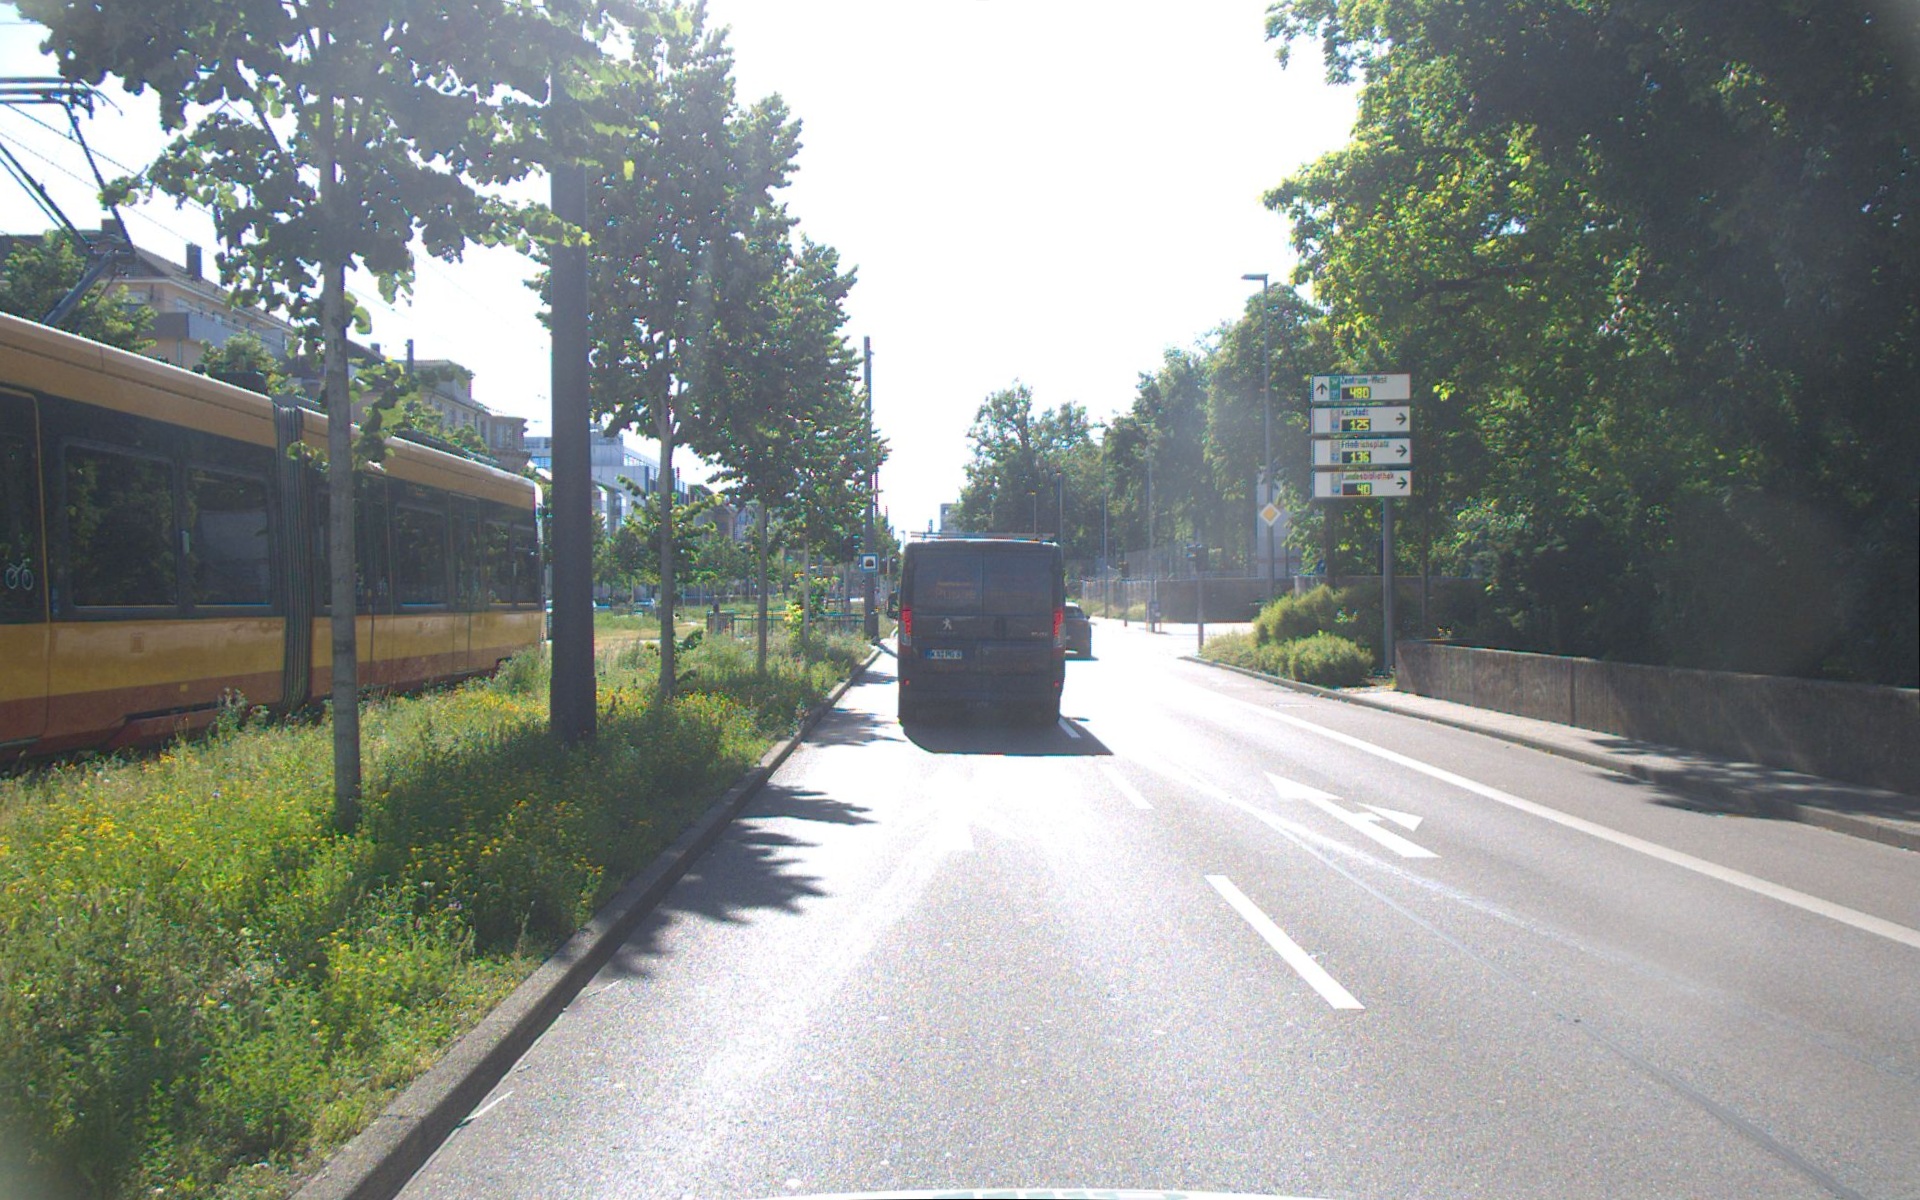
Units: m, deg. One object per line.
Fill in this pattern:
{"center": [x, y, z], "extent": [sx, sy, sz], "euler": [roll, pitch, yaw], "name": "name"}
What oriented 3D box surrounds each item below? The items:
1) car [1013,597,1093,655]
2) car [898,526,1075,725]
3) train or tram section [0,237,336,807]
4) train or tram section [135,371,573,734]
{"center": [2.463, 0.672, 44.656], "extent": [1.728, 1.488, 3.997], "euler": [0, 0, -3], "name": "car"}
{"center": [0.245, 0.300, 21.141], "extent": [2.040, 2.288, 3.998], "euler": [0, 0, -2], "name": "car"}
{"center": [-7.294, -0.516, 11.437], "extent": [1.953, 3.733, 11.312], "euler": [0, 0, -2], "name": "train or tram section"}
{"center": [-7.619, -0.495, 22.921], "extent": [1.953, 3.733, 11.680], "euler": [0, 0, -1], "name": "train or tram section"}
